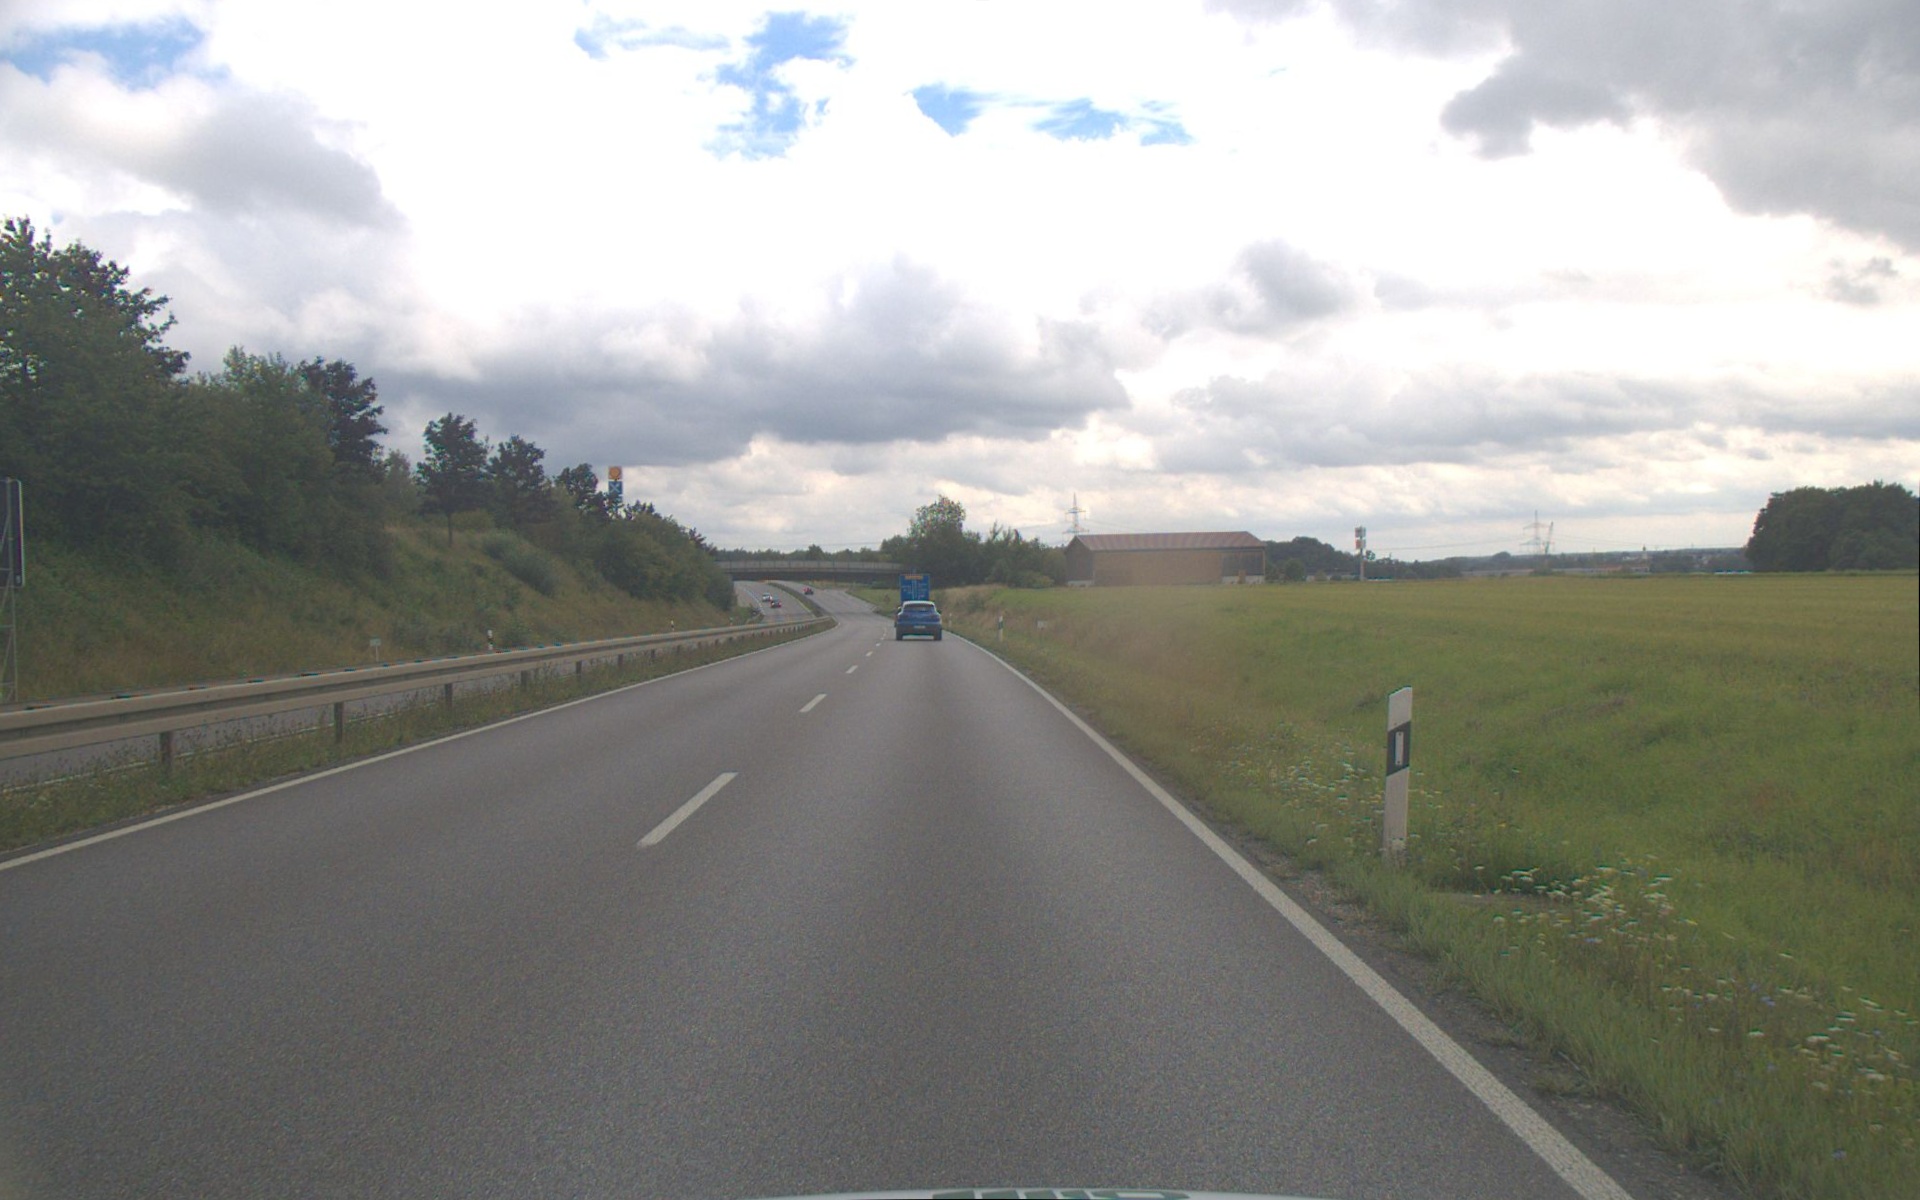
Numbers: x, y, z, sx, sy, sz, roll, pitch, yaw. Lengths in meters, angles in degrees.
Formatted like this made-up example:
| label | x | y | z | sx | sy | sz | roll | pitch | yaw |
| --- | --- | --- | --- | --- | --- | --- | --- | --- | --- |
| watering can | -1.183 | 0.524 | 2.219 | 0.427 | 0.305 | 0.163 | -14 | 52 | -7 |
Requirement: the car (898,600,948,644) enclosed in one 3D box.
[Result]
| label | x | y | z | sx | sy | sz | roll | pitch | yaw |
| --- | --- | --- | --- | --- | --- | --- | --- | --- | --- |
| car | -1.576 | 0.889 | 69.779 | 1.992 | 1.689 | 4.541 | 0 | 1 | -3 |
